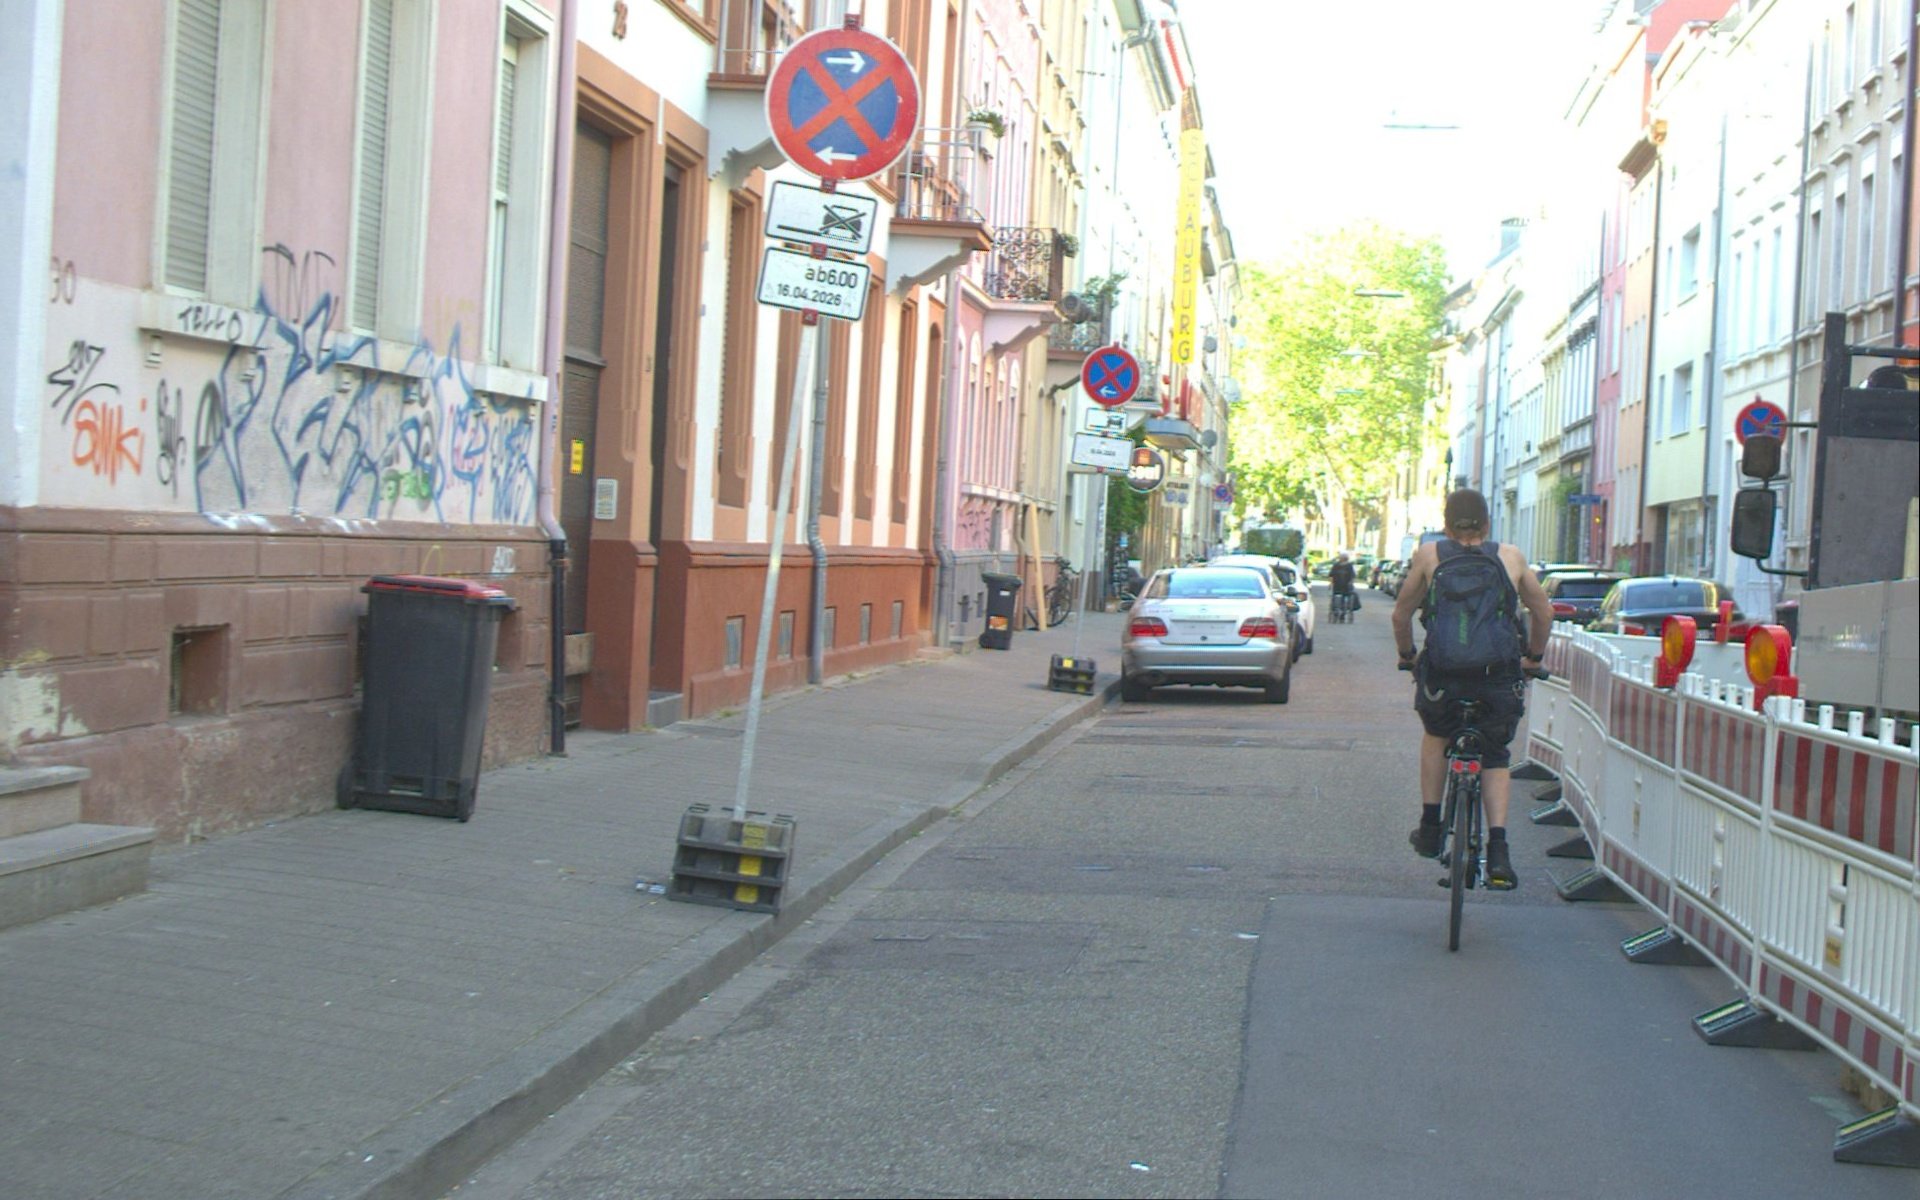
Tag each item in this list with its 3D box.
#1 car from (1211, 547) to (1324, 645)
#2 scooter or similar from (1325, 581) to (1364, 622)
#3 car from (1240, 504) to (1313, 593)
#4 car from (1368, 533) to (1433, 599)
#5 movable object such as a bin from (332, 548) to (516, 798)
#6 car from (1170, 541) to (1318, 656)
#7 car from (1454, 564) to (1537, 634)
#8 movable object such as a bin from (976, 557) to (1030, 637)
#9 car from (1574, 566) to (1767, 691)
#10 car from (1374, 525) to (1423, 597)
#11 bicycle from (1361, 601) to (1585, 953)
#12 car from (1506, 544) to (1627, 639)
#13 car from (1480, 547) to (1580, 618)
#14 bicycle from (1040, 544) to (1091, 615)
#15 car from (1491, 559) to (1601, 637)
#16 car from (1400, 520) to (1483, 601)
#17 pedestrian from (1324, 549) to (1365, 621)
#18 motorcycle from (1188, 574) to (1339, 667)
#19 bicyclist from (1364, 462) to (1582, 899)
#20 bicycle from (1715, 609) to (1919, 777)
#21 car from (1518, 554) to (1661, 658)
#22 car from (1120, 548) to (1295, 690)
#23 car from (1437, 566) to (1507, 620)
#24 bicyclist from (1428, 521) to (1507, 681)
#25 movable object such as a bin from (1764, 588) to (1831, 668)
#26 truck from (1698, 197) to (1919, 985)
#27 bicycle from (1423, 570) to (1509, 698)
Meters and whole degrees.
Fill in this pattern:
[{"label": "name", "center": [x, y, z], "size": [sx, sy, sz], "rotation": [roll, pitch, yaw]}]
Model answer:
[{"label": "car", "center": [4.814, -0.069, 53.705], "size": [1.672, 1.437, 4.164], "rotation": [1, 0, 6]}, {"label": "scooter or similar", "center": [8.690, 0.024, 77.701], "size": [0.771, 0.869, 0.770], "rotation": [4, 0, 4]}, {"label": "car", "center": [9.266, -1.509, 100.910], "size": [1.910, 2.488, 4.165], "rotation": [2, 1, 4]}, {"label": "car", "center": [17.505, -1.337, 136.963], "size": [2.308, 2.529, 6.768], "rotation": [1, 0, 6]}, {"label": "movable object such as a bin", "center": [-2.350, 0.312, 15.115], "size": [0.605, 1.032, 0.596], "rotation": [4, 0, 4]}, {"label": "car", "center": [3.931, -0.064, 47.054], "size": [1.711, 1.378, 4.354], "rotation": [3, 2, 8]}, {"label": "car", "center": [12.321, -0.035, 79.274], "size": [1.621, 1.545, 3.999], "rotation": [1, 0, 6]}, {"label": "movable object such as a bin", "center": [0.530, -0.033, 42.491], "size": [0.544, 0.941, 0.487], "rotation": [4, 0, 7]}, {"label": "car", "center": [8.787, 0.323, 42.856], "size": [1.817, 1.433, 4.789], "rotation": [1, 0, 6]}, {"label": "car", "center": [23.448, -2.047, 183.967], "size": [2.308, 3.755, 6.768], "rotation": [1, 0, 6]}, {"label": "bicycle", "center": [2.014, 0.646, 13.752], "size": [0.702, 1.203, 2.342], "rotation": [4, 1, 6]}, {"label": "car", "center": [10.385, -0.151, 59.109], "size": [1.711, 1.551, 3.999], "rotation": [1, 0, 6]}, {"label": "car", "center": [11.558, -0.350, 69.891], "size": [1.711, 1.378, 3.999], "rotation": [1, 0, 6]}, {"label": "bicycle", "center": [1.712, -0.322, 55.358], "size": [0.593, 1.085, 2.078], "rotation": [4, 1, 6]}, {"label": "car", "center": [10.949, -0.041, 64.410], "size": [1.711, 1.378, 3.999], "rotation": [1, 0, 6]}, {"label": "car", "center": [15.581, -1.255, 111.505], "size": [2.308, 2.529, 6.768], "rotation": [1, 0, 6]}, {"label": "pedestrian", "center": [8.733, -0.335, 78.180], "size": [0.771, 1.573, 0.900], "rotation": [4, 0, 4]}, {"label": "motorcycle", "center": [4.474, 0.300, 50.683], "size": [2.146, 1.354, 0.540], "rotation": [0, 1, -12]}, {"label": "bicyclist", "center": [2.021, 0.298, 13.668], "size": [0.702, 1.627, 1.090], "rotation": [4, 1, 6]}, {"label": "bicycle", "center": [6.559, 0.695, 25.144], "size": [1.849, 1.106, 0.644], "rotation": [4, 0, -1]}, {"label": "car", "center": [9.753, 0.085, 53.490], "size": [1.817, 1.516, 3.999], "rotation": [1, 0, 6]}, {"label": "car", "center": [2.675, 0.181, 36.420], "size": [1.711, 1.378, 4.504], "rotation": [1, 0, 6]}, {"label": "car", "center": [14.260, -0.192, 95.917], "size": [1.711, 1.442, 3.999], "rotation": [1, 0, 6]}, {"label": "bicyclist", "center": [5.219, 0.005, 35.400], "size": [0.702, 1.599, 0.812], "rotation": [2, 2, 5]}, {"label": "movable object such as a bin", "center": [11.329, 0.371, 46.512], "size": [0.736, 1.072, 0.677], "rotation": [0, 0, -1]}, {"label": "truck", "center": [4.985, -0.004, 14.554], "size": [2.662, 2.804, 7.391], "rotation": [4, 1, 6]}, {"label": "bicycle", "center": [5.208, 0.332, 35.470], "size": [0.702, 1.203, 2.342], "rotation": [2, 2, 5]}]
